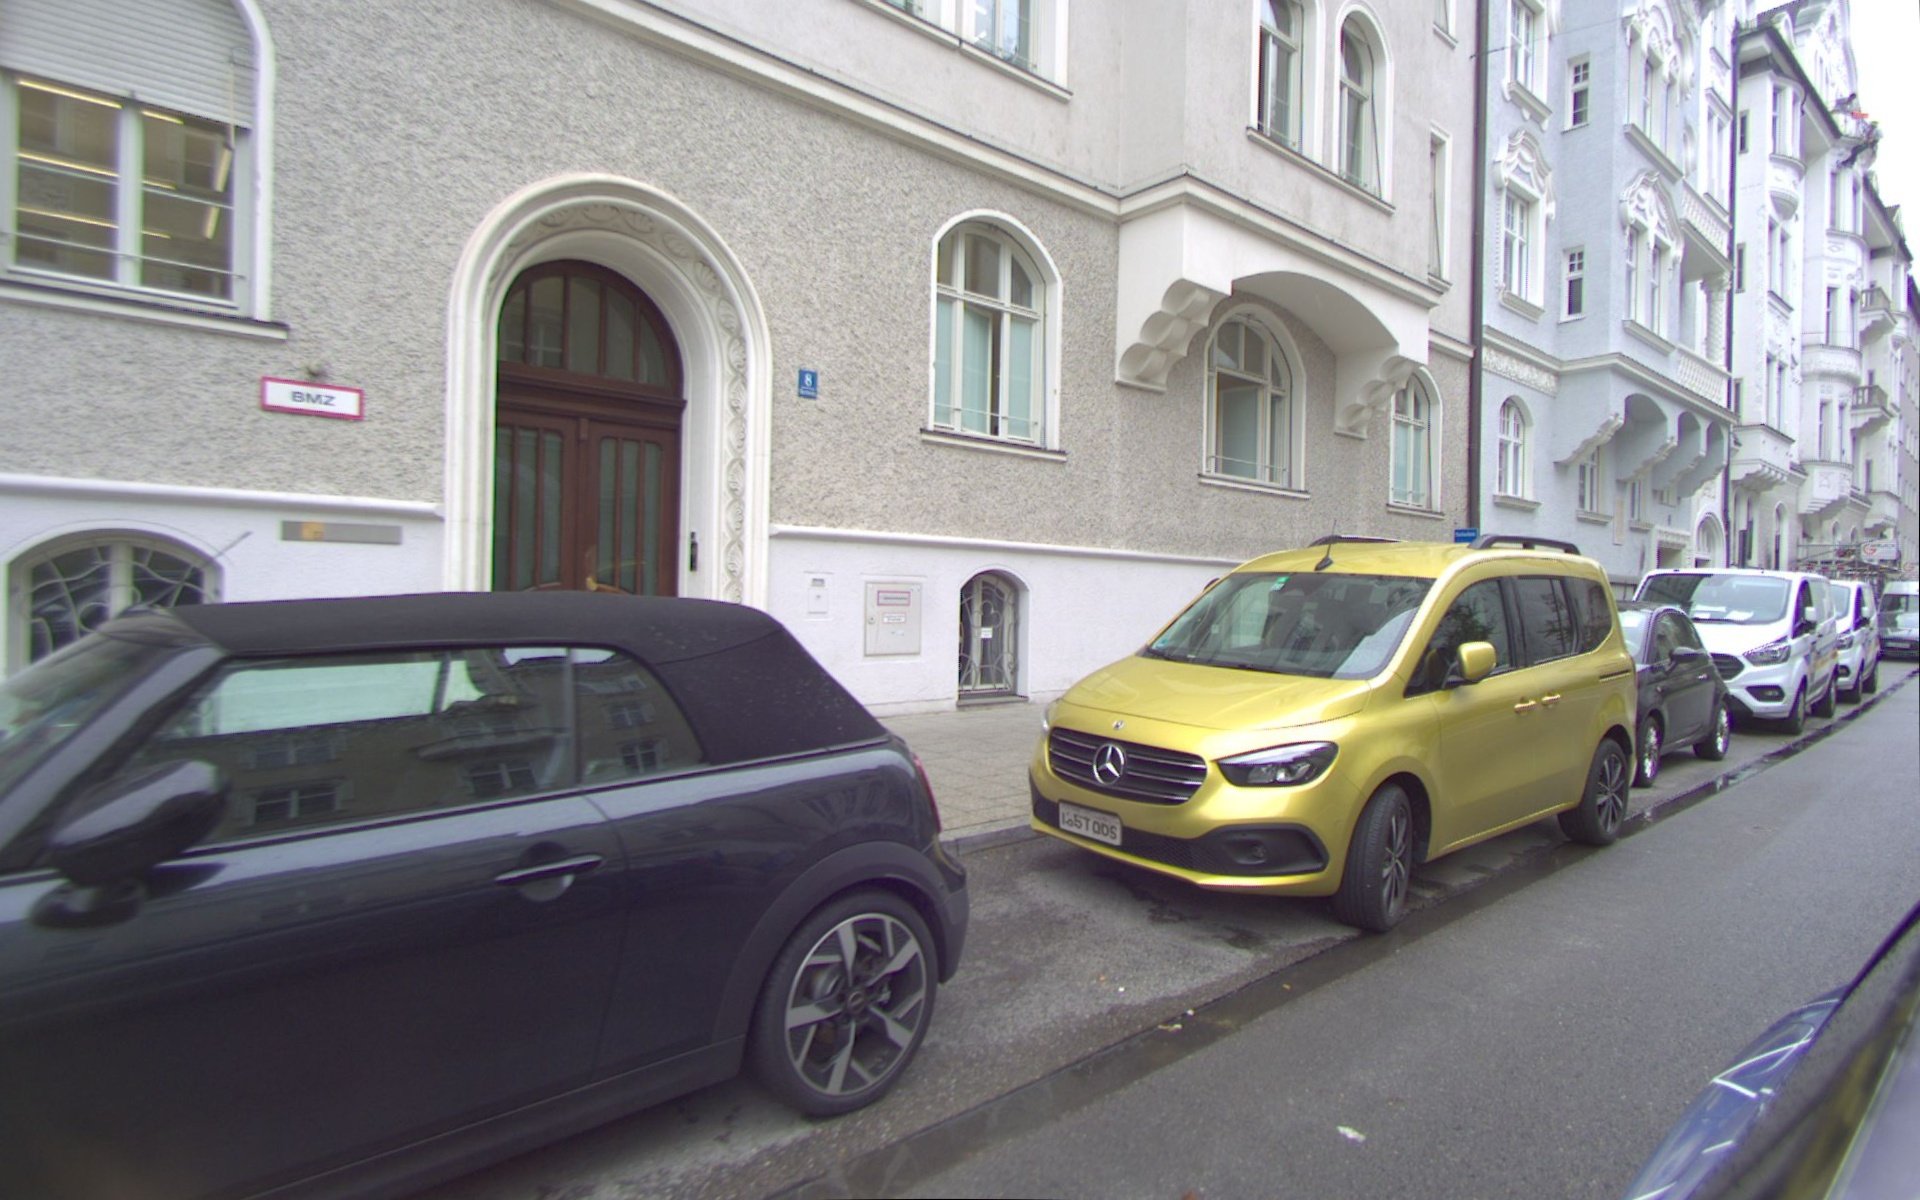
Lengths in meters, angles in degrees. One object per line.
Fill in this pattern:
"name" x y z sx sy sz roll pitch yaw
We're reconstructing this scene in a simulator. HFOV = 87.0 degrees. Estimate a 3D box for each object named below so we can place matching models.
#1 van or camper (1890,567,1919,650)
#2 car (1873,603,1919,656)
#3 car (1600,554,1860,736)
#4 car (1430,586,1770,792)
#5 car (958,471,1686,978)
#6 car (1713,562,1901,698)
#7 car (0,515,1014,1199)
"van or camper" 32.835 0.276 33.896 5.364 2.670 1.957 0 1 -42
"car" 28.383 0.841 29.903 4.018 1.452 1.756 0 1 -43
"car" 10.259 0.464 13.324 4.910 1.961 1.961 0 1 -44
"car" 6.030 0.661 9.377 3.717 1.503 1.635 0 1 -41
"car" 2.413 0.458 5.971 4.733 1.876 1.855 1 1 -39
"car" 14.843 0.435 17.636 4.910 2.039 1.961 0 1 -44
"car" -1.824 0.582 2.547 3.828 1.475 1.667 1 1 -41
